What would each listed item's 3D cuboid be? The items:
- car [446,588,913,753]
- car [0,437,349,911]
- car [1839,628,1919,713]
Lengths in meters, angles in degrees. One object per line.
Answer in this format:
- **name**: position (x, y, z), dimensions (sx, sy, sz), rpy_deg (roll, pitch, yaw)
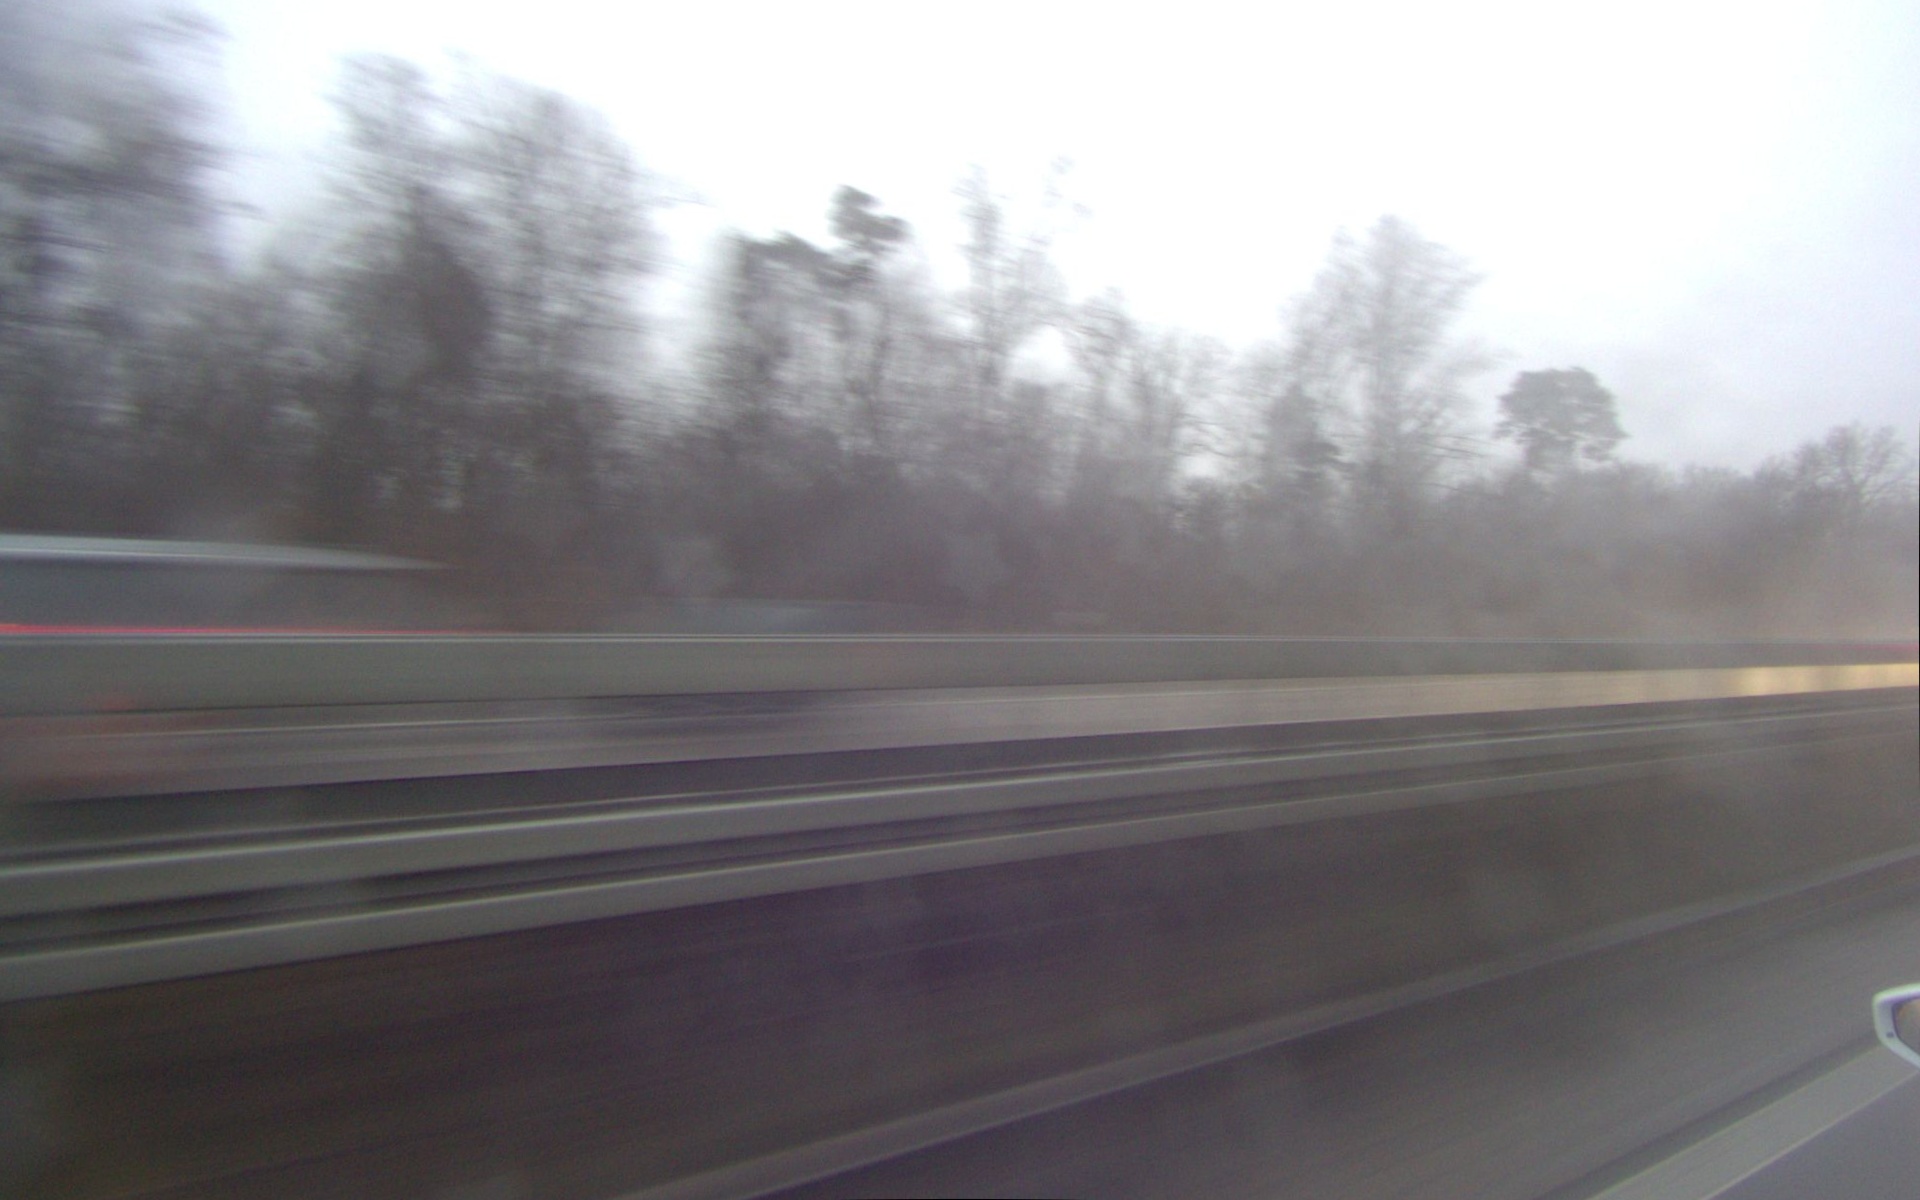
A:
- **car**: position (-2.990, 0.697, 11.071), dimensions (4.667, 1.504, 1.745), rpy_deg (2, 0, -30)
- **car**: position (-5.721, 0.296, 4.931), dimensions (4.520, 2.158, 1.984), rpy_deg (2, -1, -30)
- **car**: position (20.188, 1.435, 20.779), dimensions (4.369, 1.599, 1.671), rpy_deg (2, 0, -30)
